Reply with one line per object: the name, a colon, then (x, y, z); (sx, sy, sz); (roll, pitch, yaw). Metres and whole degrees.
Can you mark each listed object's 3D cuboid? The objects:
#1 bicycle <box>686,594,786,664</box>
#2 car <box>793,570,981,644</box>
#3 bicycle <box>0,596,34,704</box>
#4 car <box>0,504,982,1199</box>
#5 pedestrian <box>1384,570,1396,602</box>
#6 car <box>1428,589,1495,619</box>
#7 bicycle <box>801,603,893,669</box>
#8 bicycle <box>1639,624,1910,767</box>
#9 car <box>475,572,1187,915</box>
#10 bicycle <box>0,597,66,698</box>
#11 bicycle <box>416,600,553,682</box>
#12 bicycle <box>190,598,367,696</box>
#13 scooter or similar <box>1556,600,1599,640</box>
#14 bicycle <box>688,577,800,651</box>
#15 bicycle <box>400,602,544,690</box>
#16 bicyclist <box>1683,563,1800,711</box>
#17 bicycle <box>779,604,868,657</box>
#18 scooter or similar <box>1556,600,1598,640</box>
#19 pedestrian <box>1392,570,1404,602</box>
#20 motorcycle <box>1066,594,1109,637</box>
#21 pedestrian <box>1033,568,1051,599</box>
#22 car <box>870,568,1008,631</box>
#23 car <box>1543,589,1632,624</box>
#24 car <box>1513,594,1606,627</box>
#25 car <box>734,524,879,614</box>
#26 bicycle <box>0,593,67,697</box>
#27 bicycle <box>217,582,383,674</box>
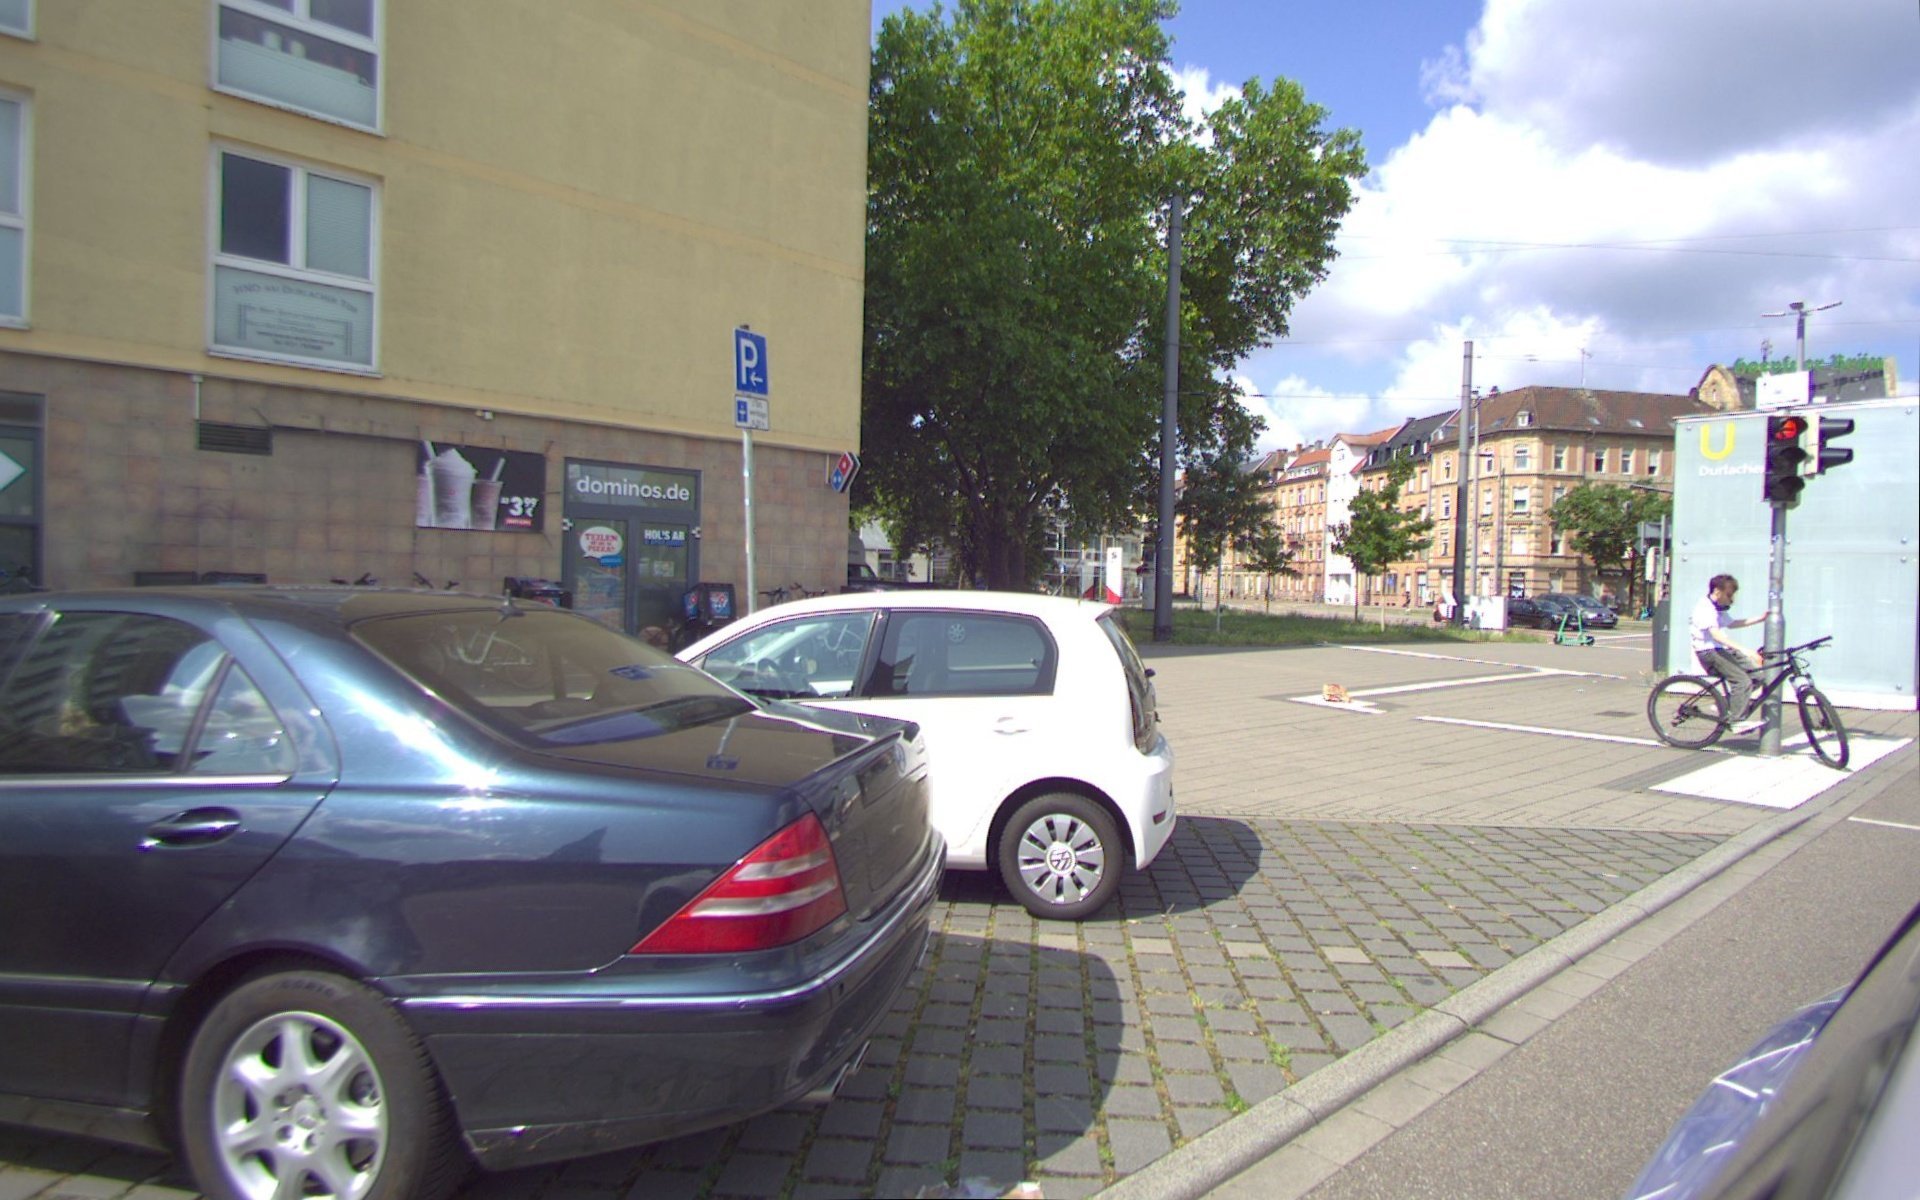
bicycle: (-3.130, 0.397, 14.237); (0.292, 0.934, 1.429); (2, 1, 45)
car: (-1.619, 0.134, 23.216); (4.024, 1.533, 1.807); (1, 1, -41)
bicycle: (-8.865, 0.428, 8.604); (1.439, 0.934, 0.293); (2, 0, -43)
car: (-2.318, 0.607, 3.248); (4.527, 1.479, 1.932); (-1, -1, 11)
pedestrian: (41.936, -1.364, 98.697); (0.655, 3.160, 0.887); (3, -1, 1)
car: (27.692, 0.209, 56.015); (1.658, 1.488, 3.658); (3, 0, -3)
bicycle: (-1.631, 0.505, 14.787); (1.439, 0.894, 0.293); (-1, 2, -43)
bicycle: (7.549, 0.827, 9.542); (0.533, 1.120, 2.104); (3, 0, -11)
car: (-0.567, 0.599, 5.577); (3.440, 1.471, 1.774); (1, 1, 10)
bicycle: (-9.211, 0.439, 9.328); (1.439, 0.934, 0.293); (2, 0, -43)
bicycle: (-5.674, 0.476, 12.129); (1.438, 0.934, 0.293); (1, 1, -40)
bicycle: (-6.881, 0.471, 10.269); (1.439, 0.934, 0.293); (2, 0, -43)
scooter or similar: (19.590, 0.628, 32.110); (1.049, 1.212, 0.380); (3, -1, 14)
bicycle: (-2.874, 0.194, 13.591); (0.292, 0.934, 1.588); (2, 0, 40)
bicycle: (-5.523, 0.502, 11.507); (1.438, 0.934, 0.293); (1, 1, -40)
bicyclist: (7.468, 0.339, 9.696); (0.387, 1.353, 0.785); (3, -1, -11)
bicycle: (-2.048, 0.448, 15.317); (1.428, 0.747, 0.293); (1, 1, -43)
scooter or similar: (19.874, 0.646, 32.596); (1.045, 1.212, 0.381); (3, -1, 4)
pedestrian: (42.678, -1.345, 98.646); (0.713, 3.115, 0.887); (3, -1, 1)
motorcycle: (3.342, 0.386, 26.337); (0.959, 1.043, 2.287); (0, 1, 11)
pedestrian: (5.347, -1.086, 65.947); (0.793, 2.039, 0.810); (1, 1, -23)
car: (-0.689, -0.048, 31.294); (3.986, 1.727, 1.969); (3, 2, 43)
car: (31.379, 0.283, 50.726); (1.961, 1.594, 3.739); (3, 0, -3)
car: (28.498, 0.476, 48.259); (1.833, 1.393, 3.945); (2, 1, -5)
car: (-5.917, -1.169, 37.994); (1.964, 3.081, 7.243); (1, 1, -39)
bicycle: (-9.002, 0.399, 9.086); (1.439, 0.934, 0.293); (2, 0, -43)
bicycle: (-7.085, 0.313, 10.910); (1.438, 0.934, 0.293); (3, -1, -40)
